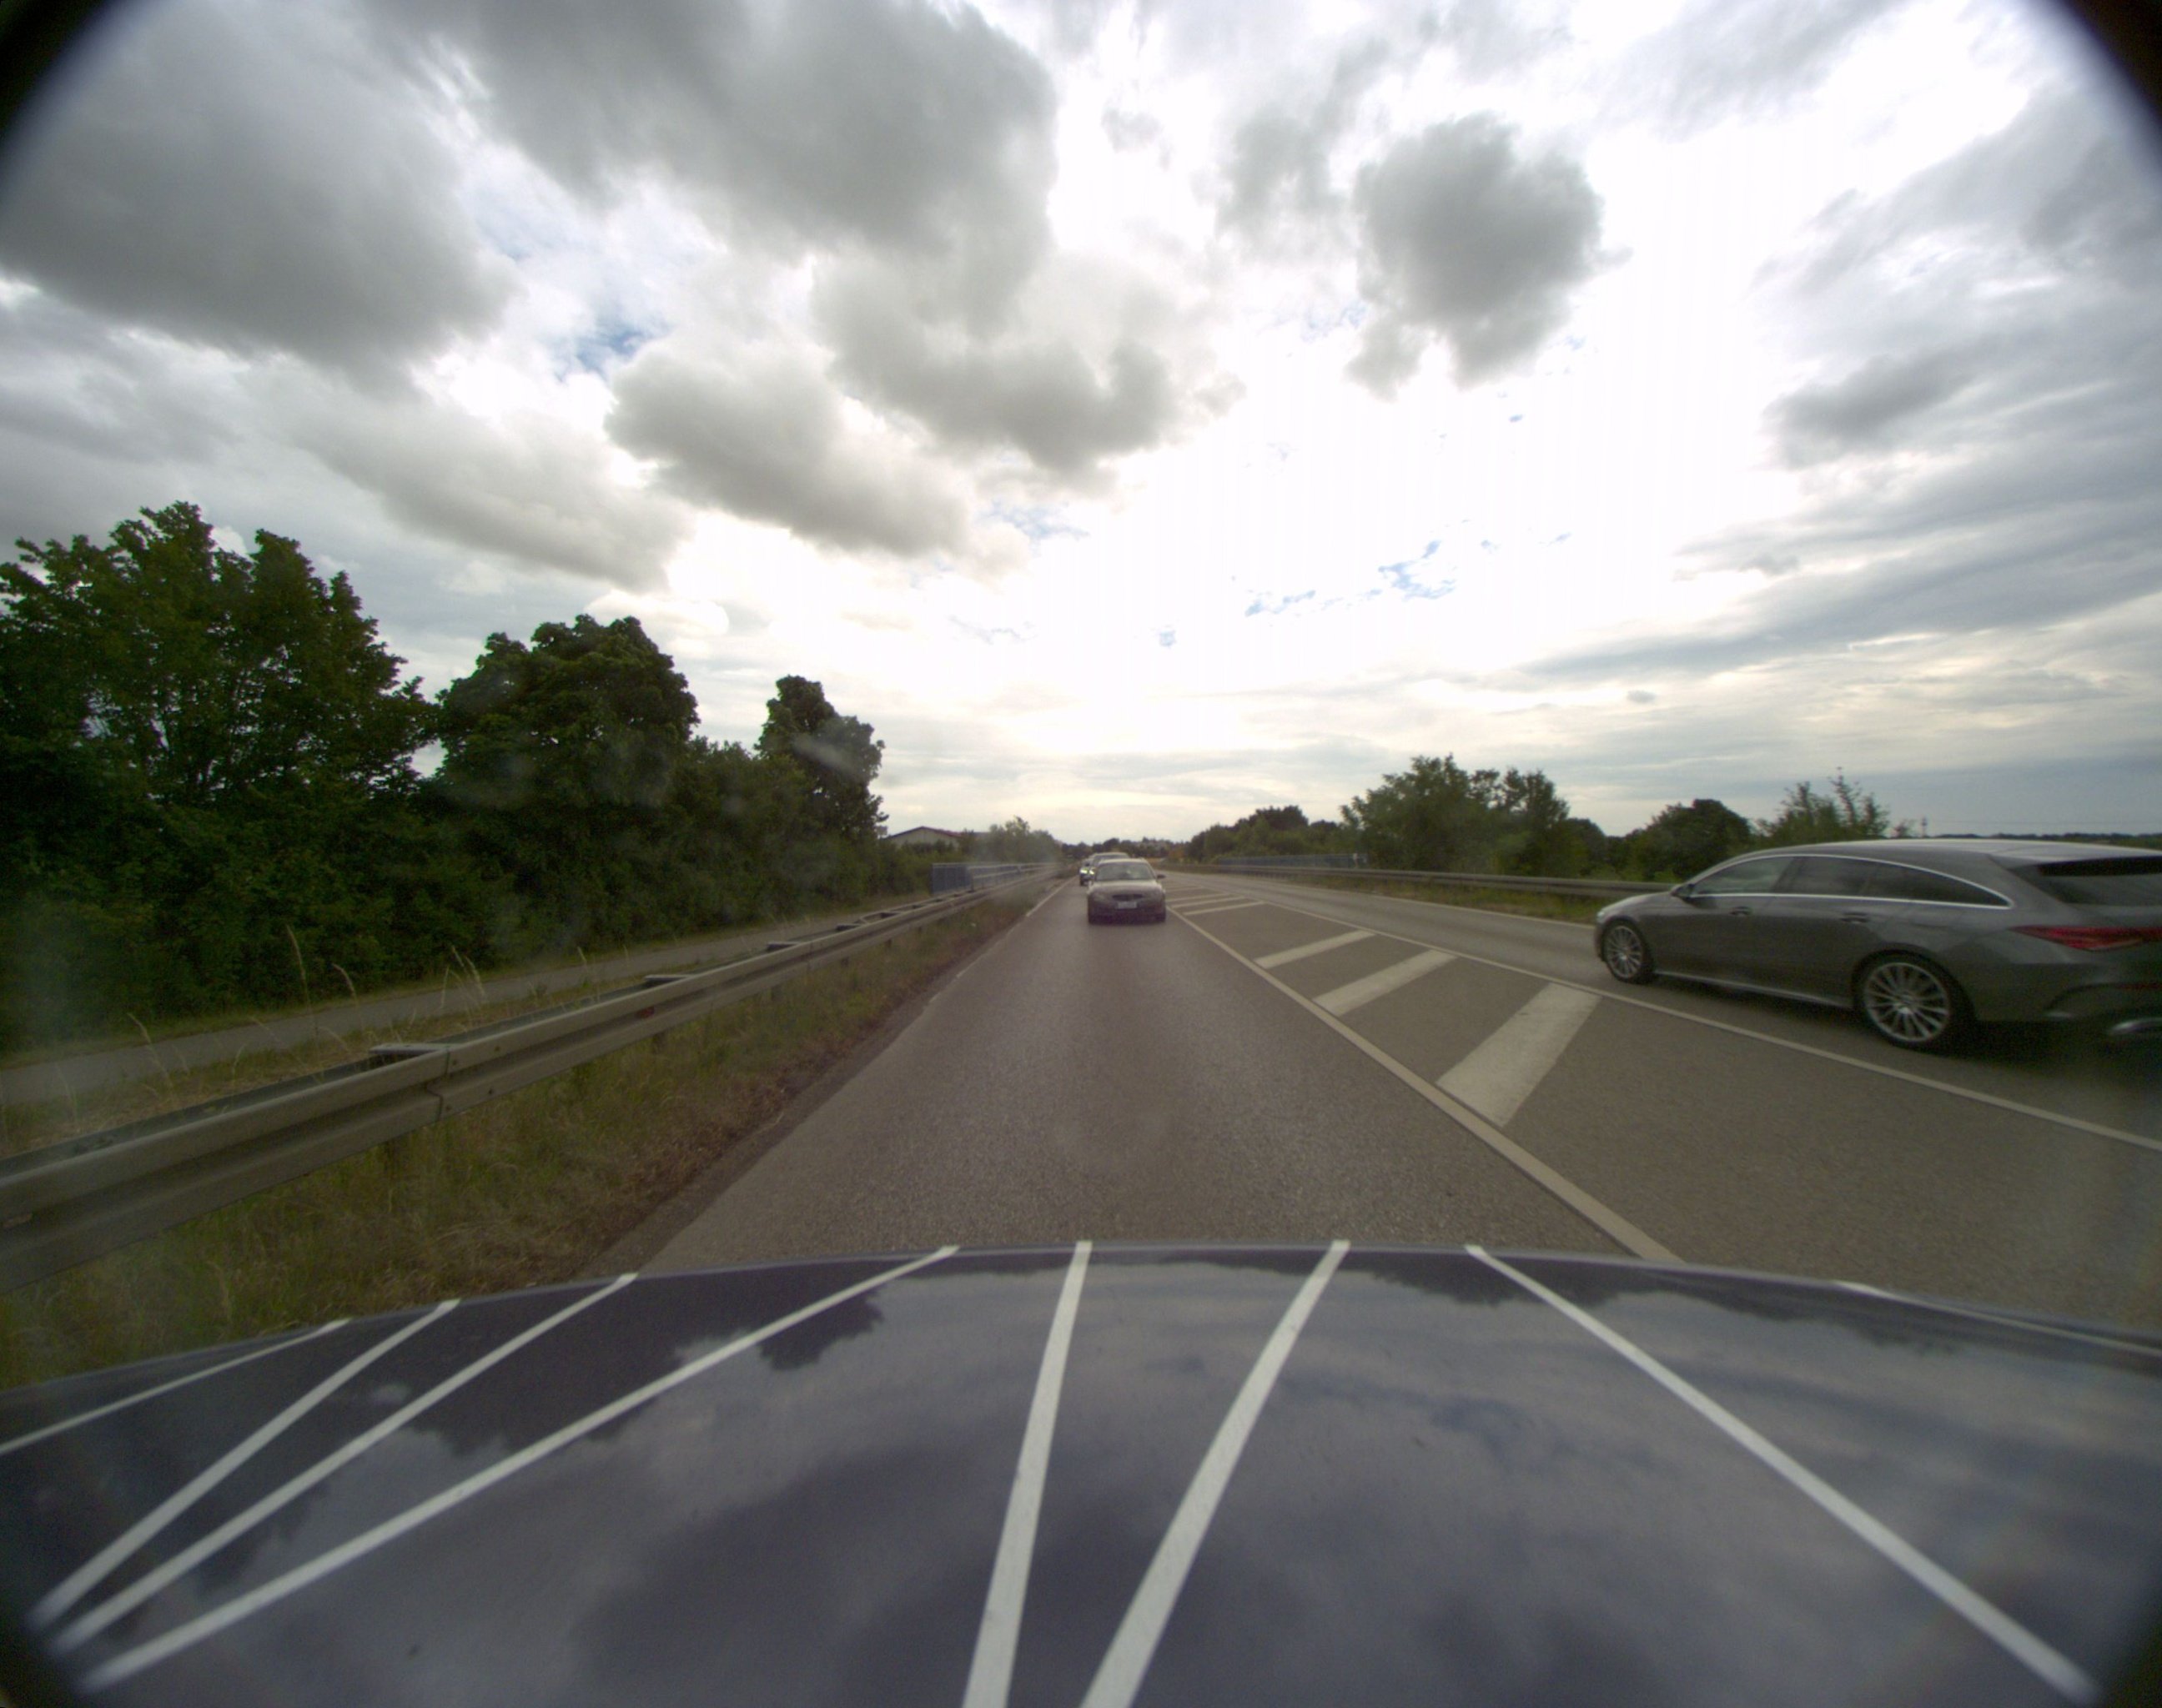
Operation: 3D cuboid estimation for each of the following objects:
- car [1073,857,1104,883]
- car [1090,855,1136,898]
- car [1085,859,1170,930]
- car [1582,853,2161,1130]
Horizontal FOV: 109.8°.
[{"bbox_3d":[0.470,0.904,44.188,1.670,1.339,4.000,-2,0,1],"label":"car"},{"bbox_3d":[1.219,0.848,30.530,1.684,1.521,4.000,-2,0,1],"label":"car"},{"bbox_3d":[1.011,0.883,18.133,1.768,1.383,3.876,-2,1,1],"label":"car"},{"bbox_3d":[6.345,0.715,6.180,1.626,1.371,4.512,-1,0,1],"label":"car"}]
